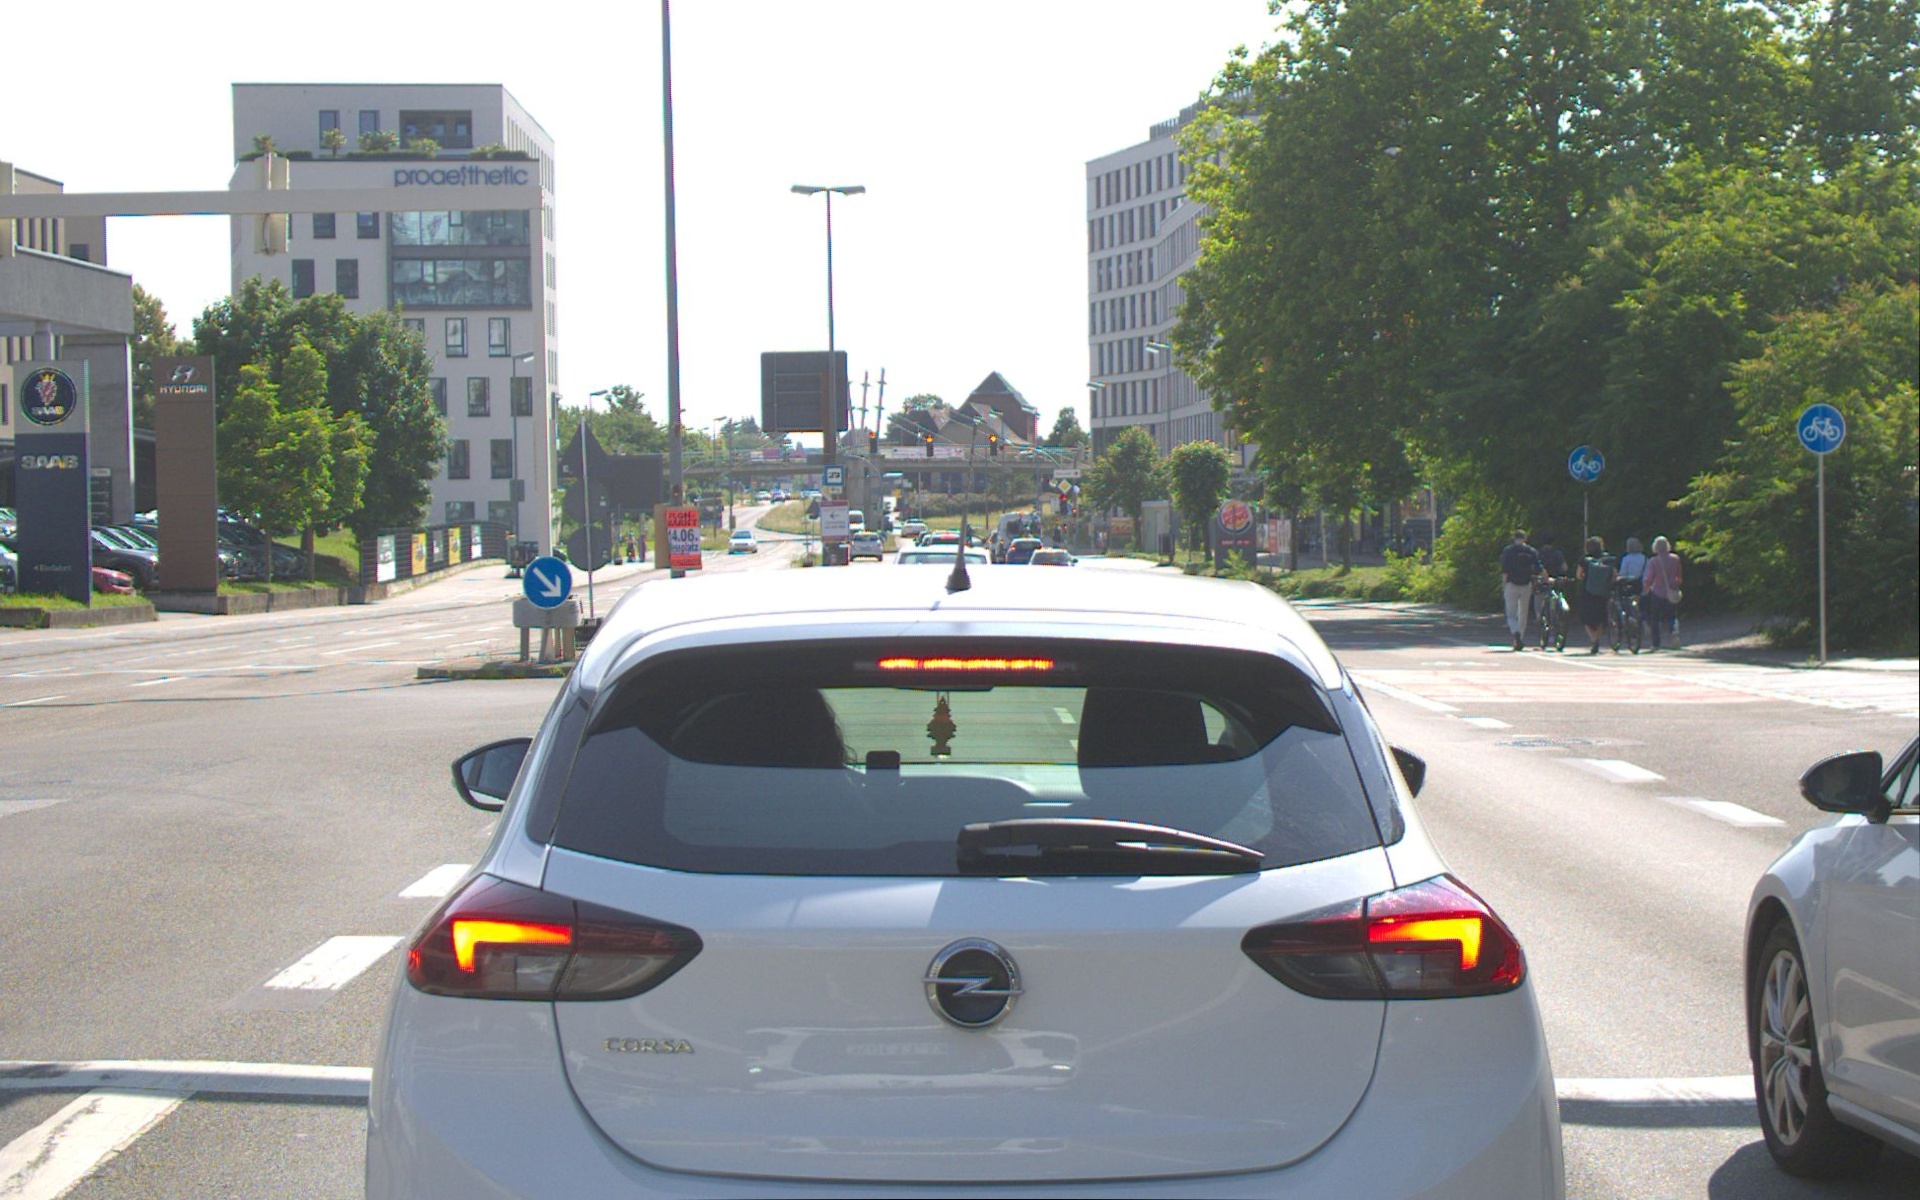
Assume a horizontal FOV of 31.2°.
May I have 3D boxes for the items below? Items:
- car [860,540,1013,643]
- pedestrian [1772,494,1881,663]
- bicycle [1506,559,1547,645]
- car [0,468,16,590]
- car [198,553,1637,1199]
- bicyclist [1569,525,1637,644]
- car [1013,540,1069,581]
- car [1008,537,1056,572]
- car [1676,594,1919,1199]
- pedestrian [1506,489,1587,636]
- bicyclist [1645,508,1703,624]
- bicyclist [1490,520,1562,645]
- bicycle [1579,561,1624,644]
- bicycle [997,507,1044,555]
[{"bbox_3d":[-0.302,-0.124,47.084,1.993,1.327,4.000,1,0,0],"label":"car"},{"bbox_3d":[10.473,-0.265,41.583,1.027,2.007,1.039,-1,1,-1],"label":"pedestrian"},{"bbox_3d":[8.160,0.017,49.510,0.372,1.212,1.154,1,1,-1],"label":"bicycle"},{"bbox_3d":[-22.557,-1.478,73.052,4.357,2.592,2.000,-1,1,5],"label":"car"},{"bbox_3d":[-0.075,0.679,6.275,1.779,1.489,4.000,-1,1,-1],"label":"car"},{"bbox_3d":[8.965,-0.225,47.944,0.688,1.637,0.777,-1,1,-9],"label":"bicyclist"},{"bbox_3d":[2.813,-1.368,120.304,1.806,1.381,4.000,1,0,-1],"label":"car"},{"bbox_3d":[2.931,-1.858,140.185,1.806,1.381,4.000,1,0,-1],"label":"car"},{"bbox_3d":[2.858,0.710,6.845,1.807,1.424,4.001,-1,1,-3],"label":"car"},{"bbox_3d":[9.012,-0.577,52.849,1.027,2.231,1.039,-1,1,-1],"label":"pedestrian"},{"bbox_3d":[10.091,-0.479,48.592,0.652,1.631,0.659,1,0,0],"label":"bicyclist"},{"bbox_3d":[8.147,-0.259,49.526,0.879,1.766,0.864,-1,1,0],"label":"bicyclist"},{"bbox_3d":[8.948,0.030,47.938,0.373,1.143,1.034,1,0,-3],"label":"bicycle"},{"bbox_3d":[2.717,-3.122,155.567,1.993,2.150,4.000,-1,1,-1],"label":"bicycle"}]
